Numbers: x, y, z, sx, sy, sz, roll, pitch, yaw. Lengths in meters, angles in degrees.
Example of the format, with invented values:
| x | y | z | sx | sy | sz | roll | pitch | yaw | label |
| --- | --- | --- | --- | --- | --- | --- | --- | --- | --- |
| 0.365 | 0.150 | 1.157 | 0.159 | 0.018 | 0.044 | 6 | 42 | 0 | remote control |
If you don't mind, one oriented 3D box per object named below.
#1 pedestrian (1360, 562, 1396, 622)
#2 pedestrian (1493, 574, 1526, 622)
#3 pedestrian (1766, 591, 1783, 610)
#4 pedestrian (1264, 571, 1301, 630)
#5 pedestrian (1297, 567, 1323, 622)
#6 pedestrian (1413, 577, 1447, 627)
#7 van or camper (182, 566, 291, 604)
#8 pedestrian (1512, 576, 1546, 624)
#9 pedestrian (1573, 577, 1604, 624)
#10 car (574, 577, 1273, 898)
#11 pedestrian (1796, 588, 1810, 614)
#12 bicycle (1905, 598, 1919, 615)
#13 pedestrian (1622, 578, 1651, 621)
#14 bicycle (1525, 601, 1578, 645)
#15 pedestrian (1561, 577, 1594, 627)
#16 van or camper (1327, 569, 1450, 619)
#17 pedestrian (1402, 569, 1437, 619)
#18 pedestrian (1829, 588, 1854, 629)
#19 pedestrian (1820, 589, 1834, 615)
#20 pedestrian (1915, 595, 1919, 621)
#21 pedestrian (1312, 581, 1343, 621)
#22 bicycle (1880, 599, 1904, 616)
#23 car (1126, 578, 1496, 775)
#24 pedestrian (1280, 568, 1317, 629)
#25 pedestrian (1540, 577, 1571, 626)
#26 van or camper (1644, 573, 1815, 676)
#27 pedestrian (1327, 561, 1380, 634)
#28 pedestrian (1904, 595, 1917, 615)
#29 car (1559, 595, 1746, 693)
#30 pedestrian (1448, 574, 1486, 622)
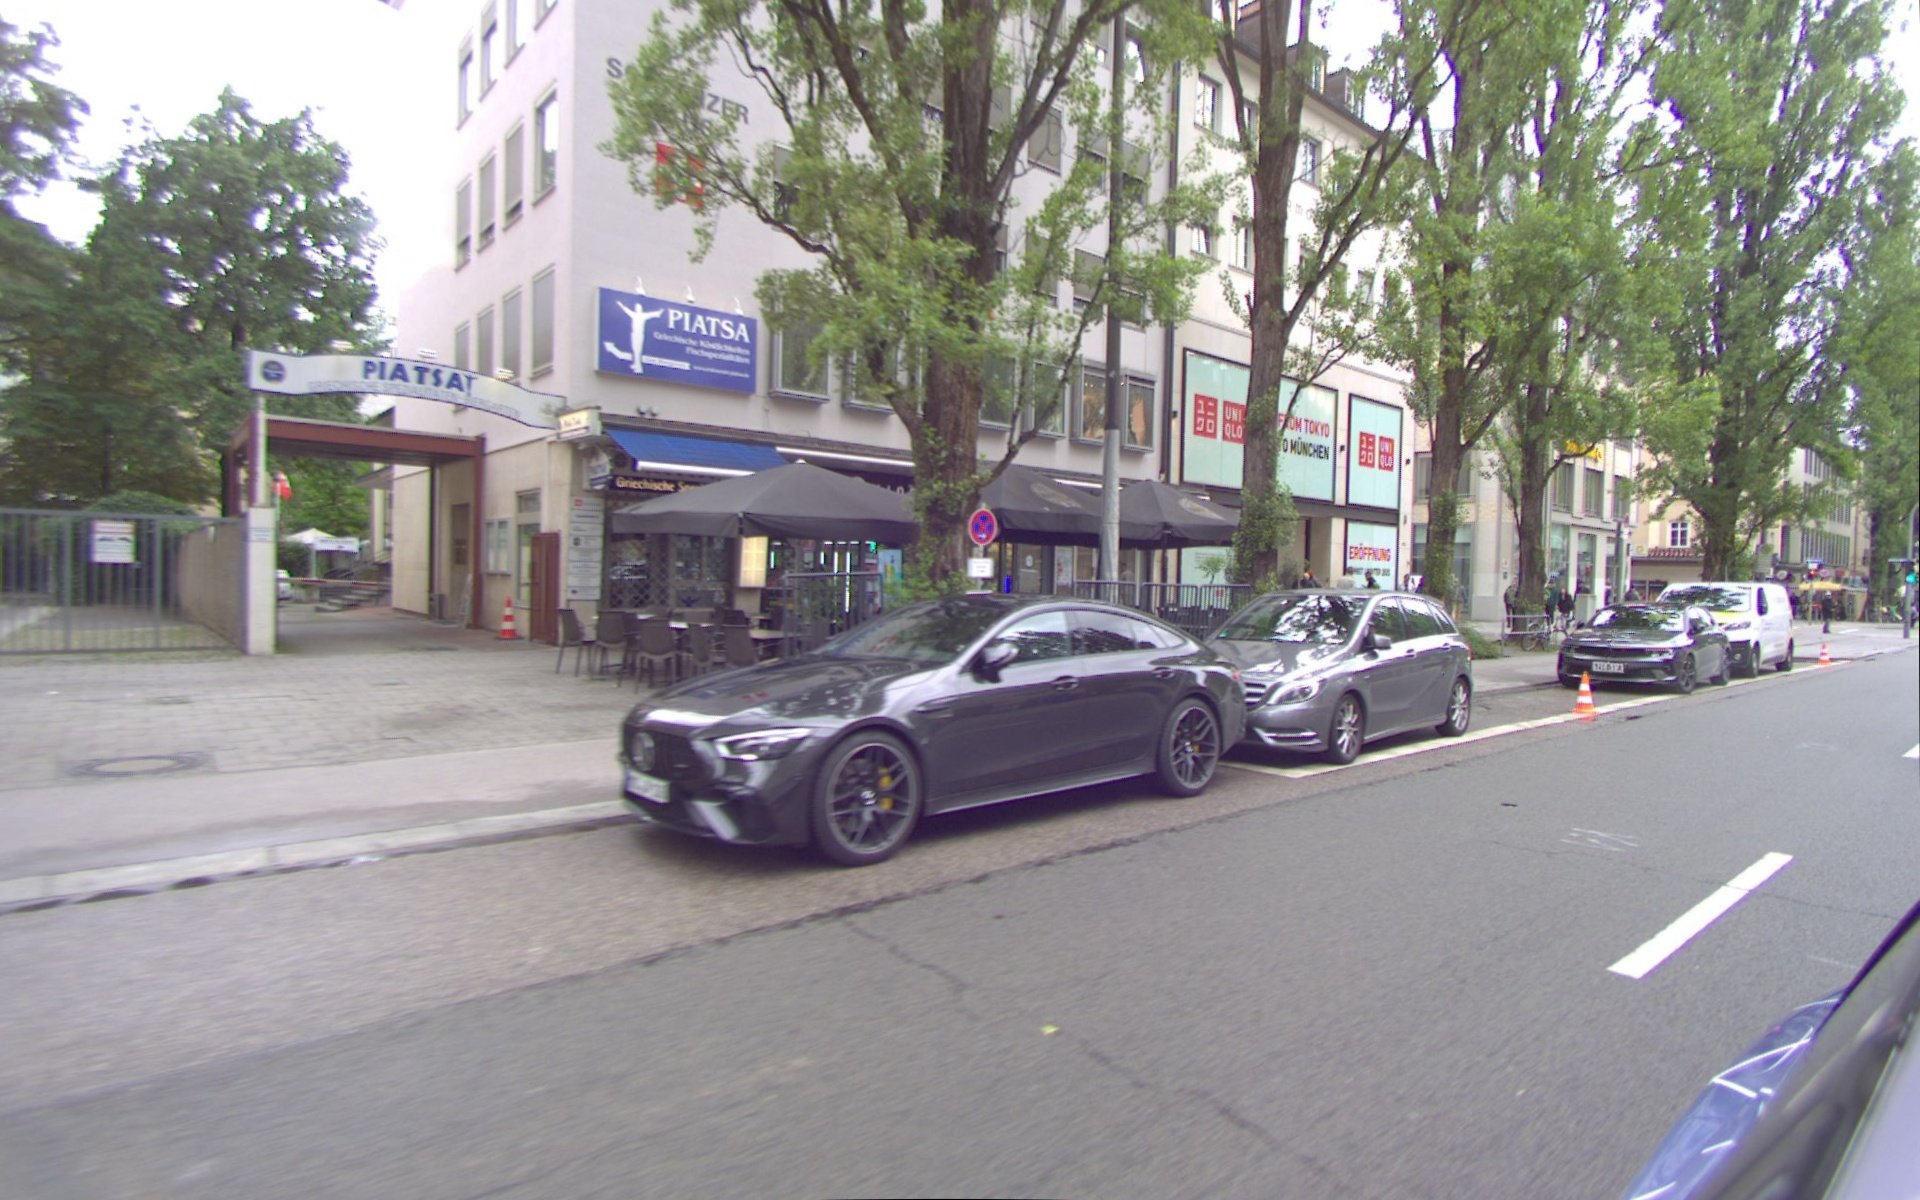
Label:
| x | y | z | sx | sy | sz | roll | pitch | yaw | label |
| --- | --- | --- | --- | --- | --- | --- | --- | --- | --- |
| 12.729 | -0.240 | 30.815 | 0.852 | 1.786 | 0.683 | 0 | 1 | -41 | pedestrian |
| 20.347 | -0.078 | 37.500 | 0.945 | 1.739 | 0.752 | 1 | 1 | -39 | pedestrian |
| 56.720 | 0.047 | 70.468 | 0.687 | 1.280 | 0.777 | 0 | 1 | -40 | pedestrian |
| 9.143 | 0.008 | 28.711 | 0.671 | 1.629 | 0.672 | 1 | 1 | -33 | pedestrian |
| 10.640 | -0.176 | 30.770 | 0.664 | 1.629 | 0.822 | 2 | 1 | 22 | pedestrian |
| 16.006 | 0.058 | 34.469 | 0.946 | 1.683 | 0.653 | 0 | 1 | -40 | pedestrian |
| -35.858 | -0.739 | 50.244 | 3.994 | 1.771 | 1.869 | 1 | 1 | -17 | van or camper |
| 20.469 | -0.002 | 36.399 | 0.945 | 1.698 | 0.752 | 1 | 1 | -39 | pedestrian |
| 25.460 | 0.004 | 41.003 | 0.875 | 1.840 | 0.819 | 0 | 1 | -42 | pedestrian |
| 0.048 | 0.619 | 6.991 | 4.722 | 1.450 | 1.881 | 0 | 2 | -42 | car |
| 56.937 | 0.056 | 68.368 | 0.526 | 1.694 | 0.542 | 1 | 1 | -34 | pedestrian |
| 61.539 | 0.421 | 65.425 | 1.740 | 1.061 | 0.509 | 0 | 2 | -43 | bicycle |
| 29.428 | -0.033 | 43.997 | 0.875 | 1.840 | 0.819 | 0 | 1 | -42 | pedestrian |
| 14.631 | 0.566 | 25.018 | 1.697 | 1.051 | 0.366 | 0 | 1 | -33 | bicycle |
| 22.815 | 0.055 | 37.394 | 0.844 | 1.779 | 0.752 | -2 | 3 | -39 | pedestrian |
| 16.860 | -0.255 | 39.974 | 1.863 | 1.890 | 4.116 | 0 | 1 | -36 | van or camper |
| 16.173 | -0.211 | 35.655 | 0.946 | 1.739 | 0.751 | 0 | 1 | -40 | pedestrian |
| 39.348 | 0.382 | 45.162 | 0.739 | 1.780 | 0.710 | 0 | 1 | -39 | pedestrian |
| 58.574 | 0.121 | 68.393 | 0.526 | 1.694 | 0.542 | 1 | 1 | -34 | pedestrian |
| 55.981 | 0.479 | 58.563 | 0.608 | 1.536 | 0.769 | 0 | 2 | 4 | pedestrian |
| 11.600 | 0.017 | 31.960 | 0.672 | 1.249 | 0.671 | 0 | 0 | -39 | pedestrian |
| 59.226 | 0.470 | 64.293 | 1.774 | 1.084 | 0.406 | 0 | -4 | -25 | bicycle |
| 3.662 | 0.583 | 10.158 | 4.163 | 1.525 | 1.818 | 0 | 2 | -44 | car |
| 9.247 | -0.044 | 27.658 | 0.757 | 1.629 | 0.672 | 0 | 0 | -37 | pedestrian |
| 22.381 | 0.047 | 38.037 | 0.844 | 1.779 | 0.752 | -2 | 3 | -39 | pedestrian |
| 16.030 | 0.430 | 20.985 | 4.817 | 1.906 | 1.872 | 0 | 1 | -41 | van or camper |
| 10.319 | -0.076 | 26.530 | 1.080 | 1.864 | 0.828 | 0 | 1 | -41 | pedestrian |
| 86.442 | 0.451 | 92.026 | 0.889 | 1.874 | 0.658 | 1 | 1 | -39 | pedestrian |
| 11.838 | 0.652 | 17.190 | 4.280 | 1.460 | 1.721 | 0 | 0 | -43 | car |
| 18.290 | -0.098 | 36.546 | 0.810 | 1.694 | 0.987 | 1 | 1 | -1 | pedestrian |
